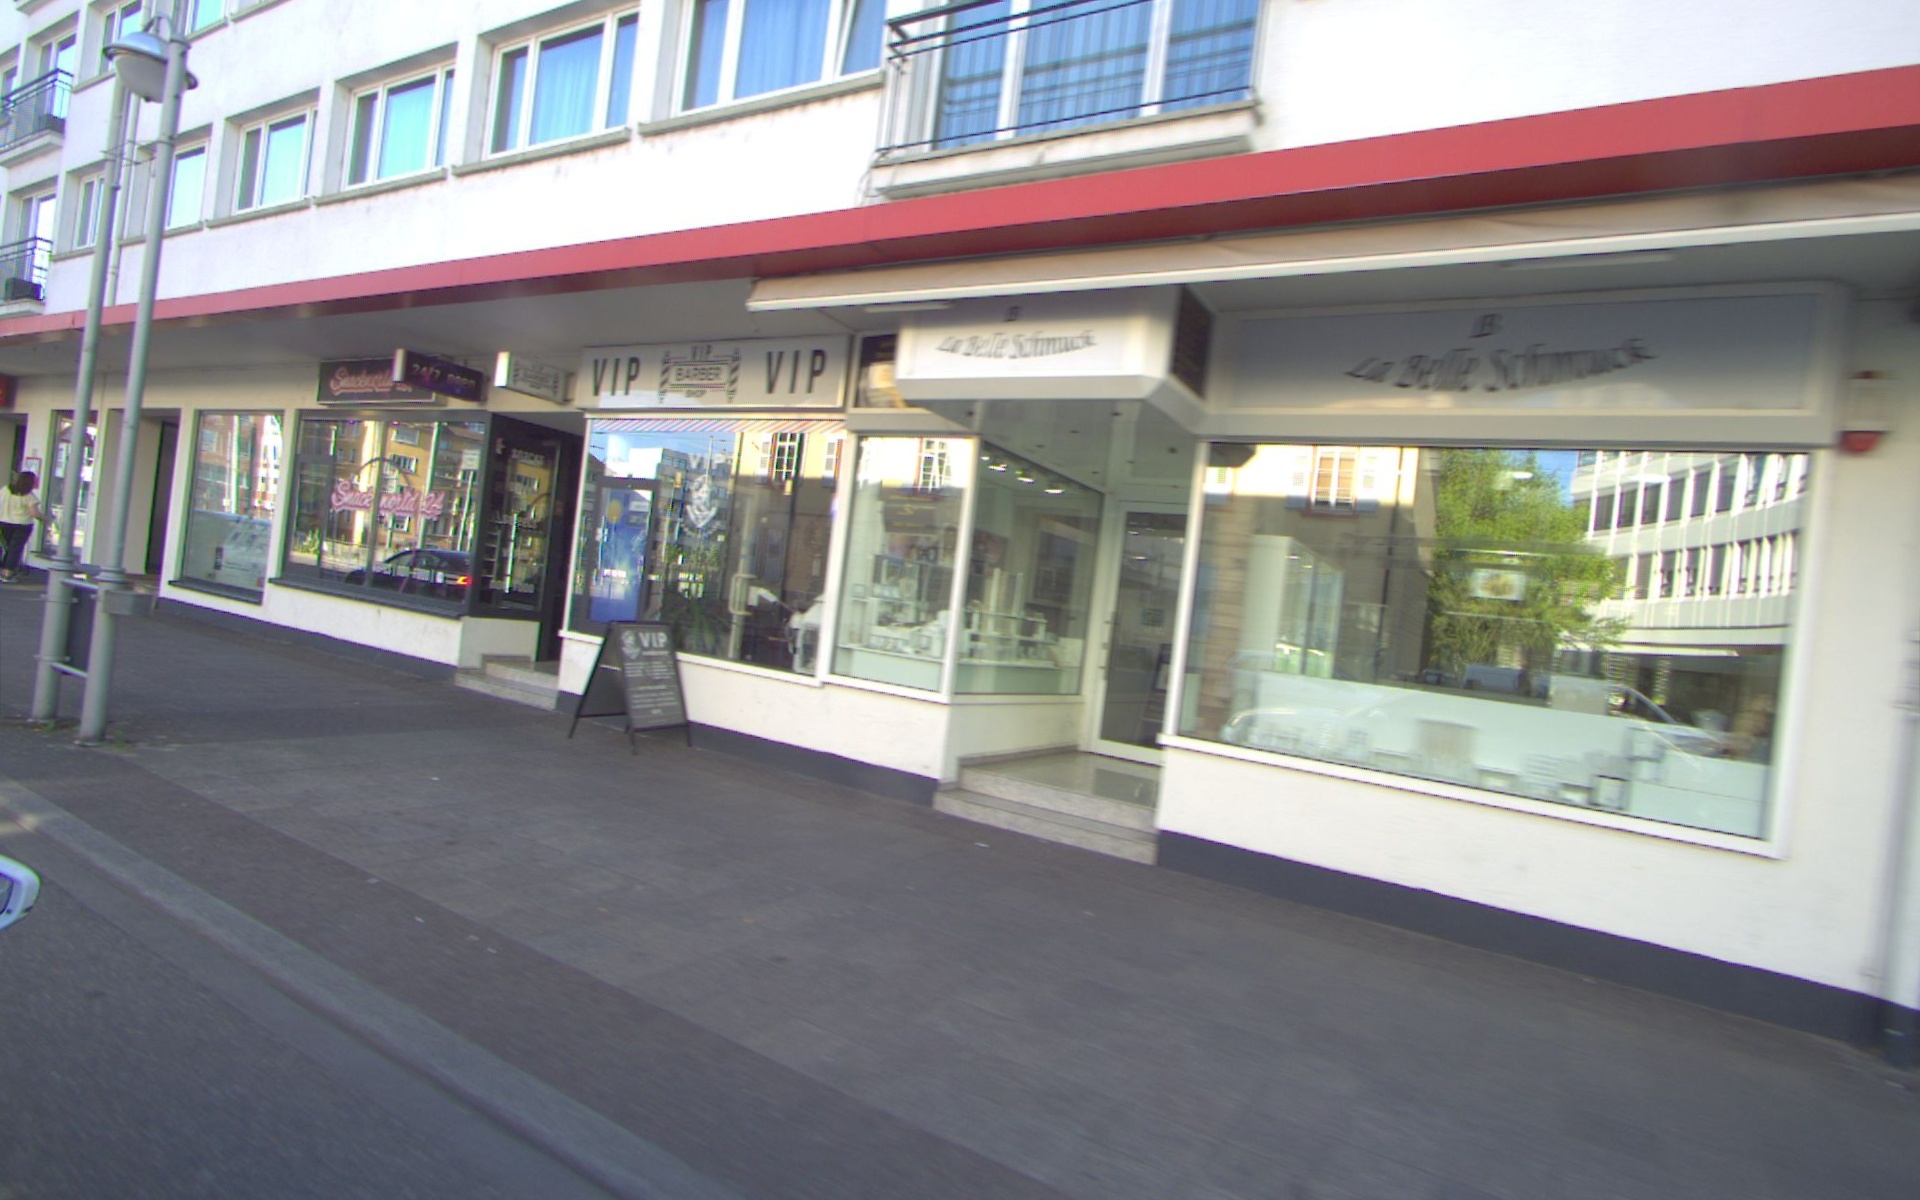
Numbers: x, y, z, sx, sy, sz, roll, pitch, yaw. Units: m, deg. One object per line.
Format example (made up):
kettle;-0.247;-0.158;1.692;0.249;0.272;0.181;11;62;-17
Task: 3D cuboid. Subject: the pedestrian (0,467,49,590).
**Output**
pedestrian;-14.736;-1.119;15.551;0.801;1.796;0.921;6;0;-44
